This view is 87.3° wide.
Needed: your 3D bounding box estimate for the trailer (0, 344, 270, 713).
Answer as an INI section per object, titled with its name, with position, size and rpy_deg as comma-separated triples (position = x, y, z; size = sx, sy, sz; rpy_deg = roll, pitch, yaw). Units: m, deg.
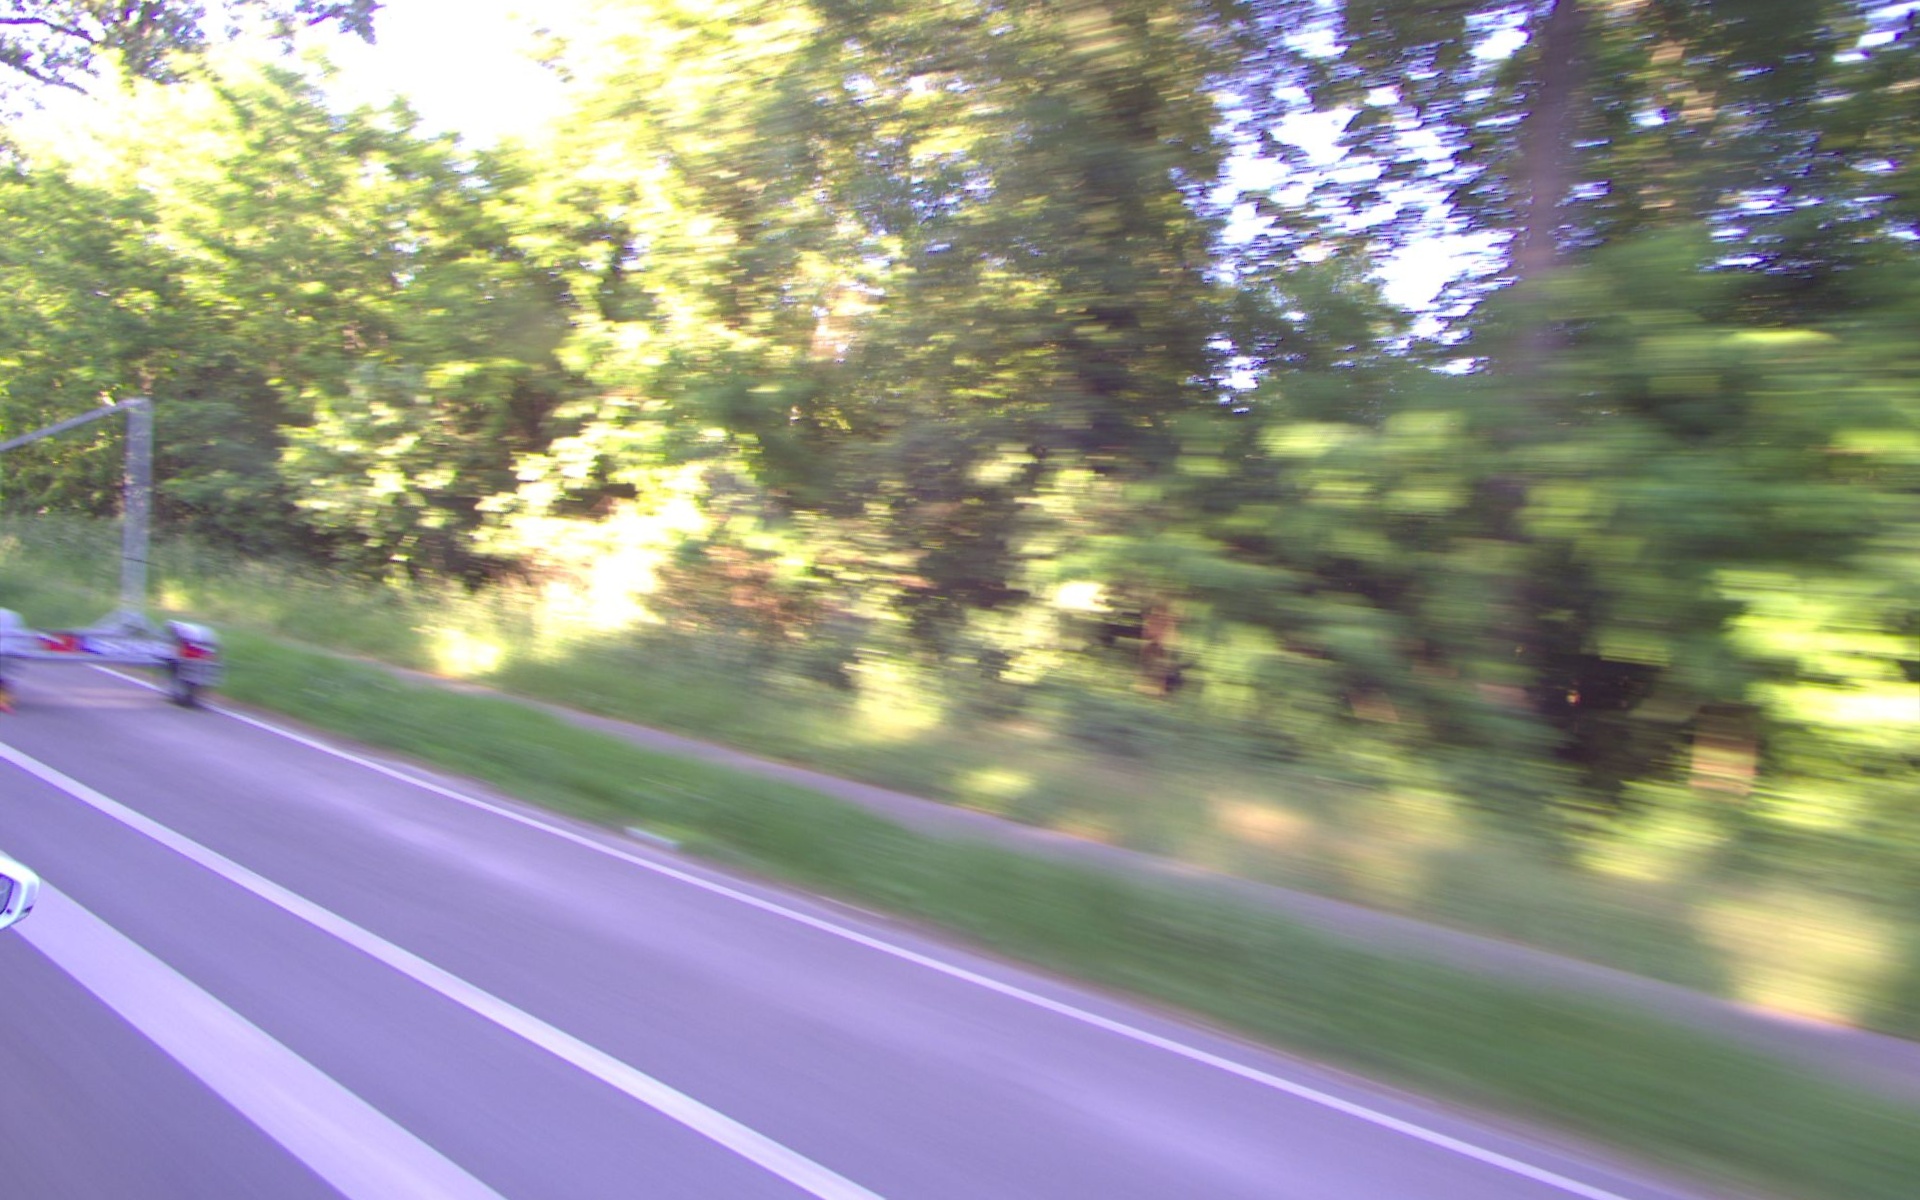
[trailer]
position = -7.888, -0.597, 8.579
size = 3.934, 2.538, 1.616
rpy_deg = 6, -1, 32
